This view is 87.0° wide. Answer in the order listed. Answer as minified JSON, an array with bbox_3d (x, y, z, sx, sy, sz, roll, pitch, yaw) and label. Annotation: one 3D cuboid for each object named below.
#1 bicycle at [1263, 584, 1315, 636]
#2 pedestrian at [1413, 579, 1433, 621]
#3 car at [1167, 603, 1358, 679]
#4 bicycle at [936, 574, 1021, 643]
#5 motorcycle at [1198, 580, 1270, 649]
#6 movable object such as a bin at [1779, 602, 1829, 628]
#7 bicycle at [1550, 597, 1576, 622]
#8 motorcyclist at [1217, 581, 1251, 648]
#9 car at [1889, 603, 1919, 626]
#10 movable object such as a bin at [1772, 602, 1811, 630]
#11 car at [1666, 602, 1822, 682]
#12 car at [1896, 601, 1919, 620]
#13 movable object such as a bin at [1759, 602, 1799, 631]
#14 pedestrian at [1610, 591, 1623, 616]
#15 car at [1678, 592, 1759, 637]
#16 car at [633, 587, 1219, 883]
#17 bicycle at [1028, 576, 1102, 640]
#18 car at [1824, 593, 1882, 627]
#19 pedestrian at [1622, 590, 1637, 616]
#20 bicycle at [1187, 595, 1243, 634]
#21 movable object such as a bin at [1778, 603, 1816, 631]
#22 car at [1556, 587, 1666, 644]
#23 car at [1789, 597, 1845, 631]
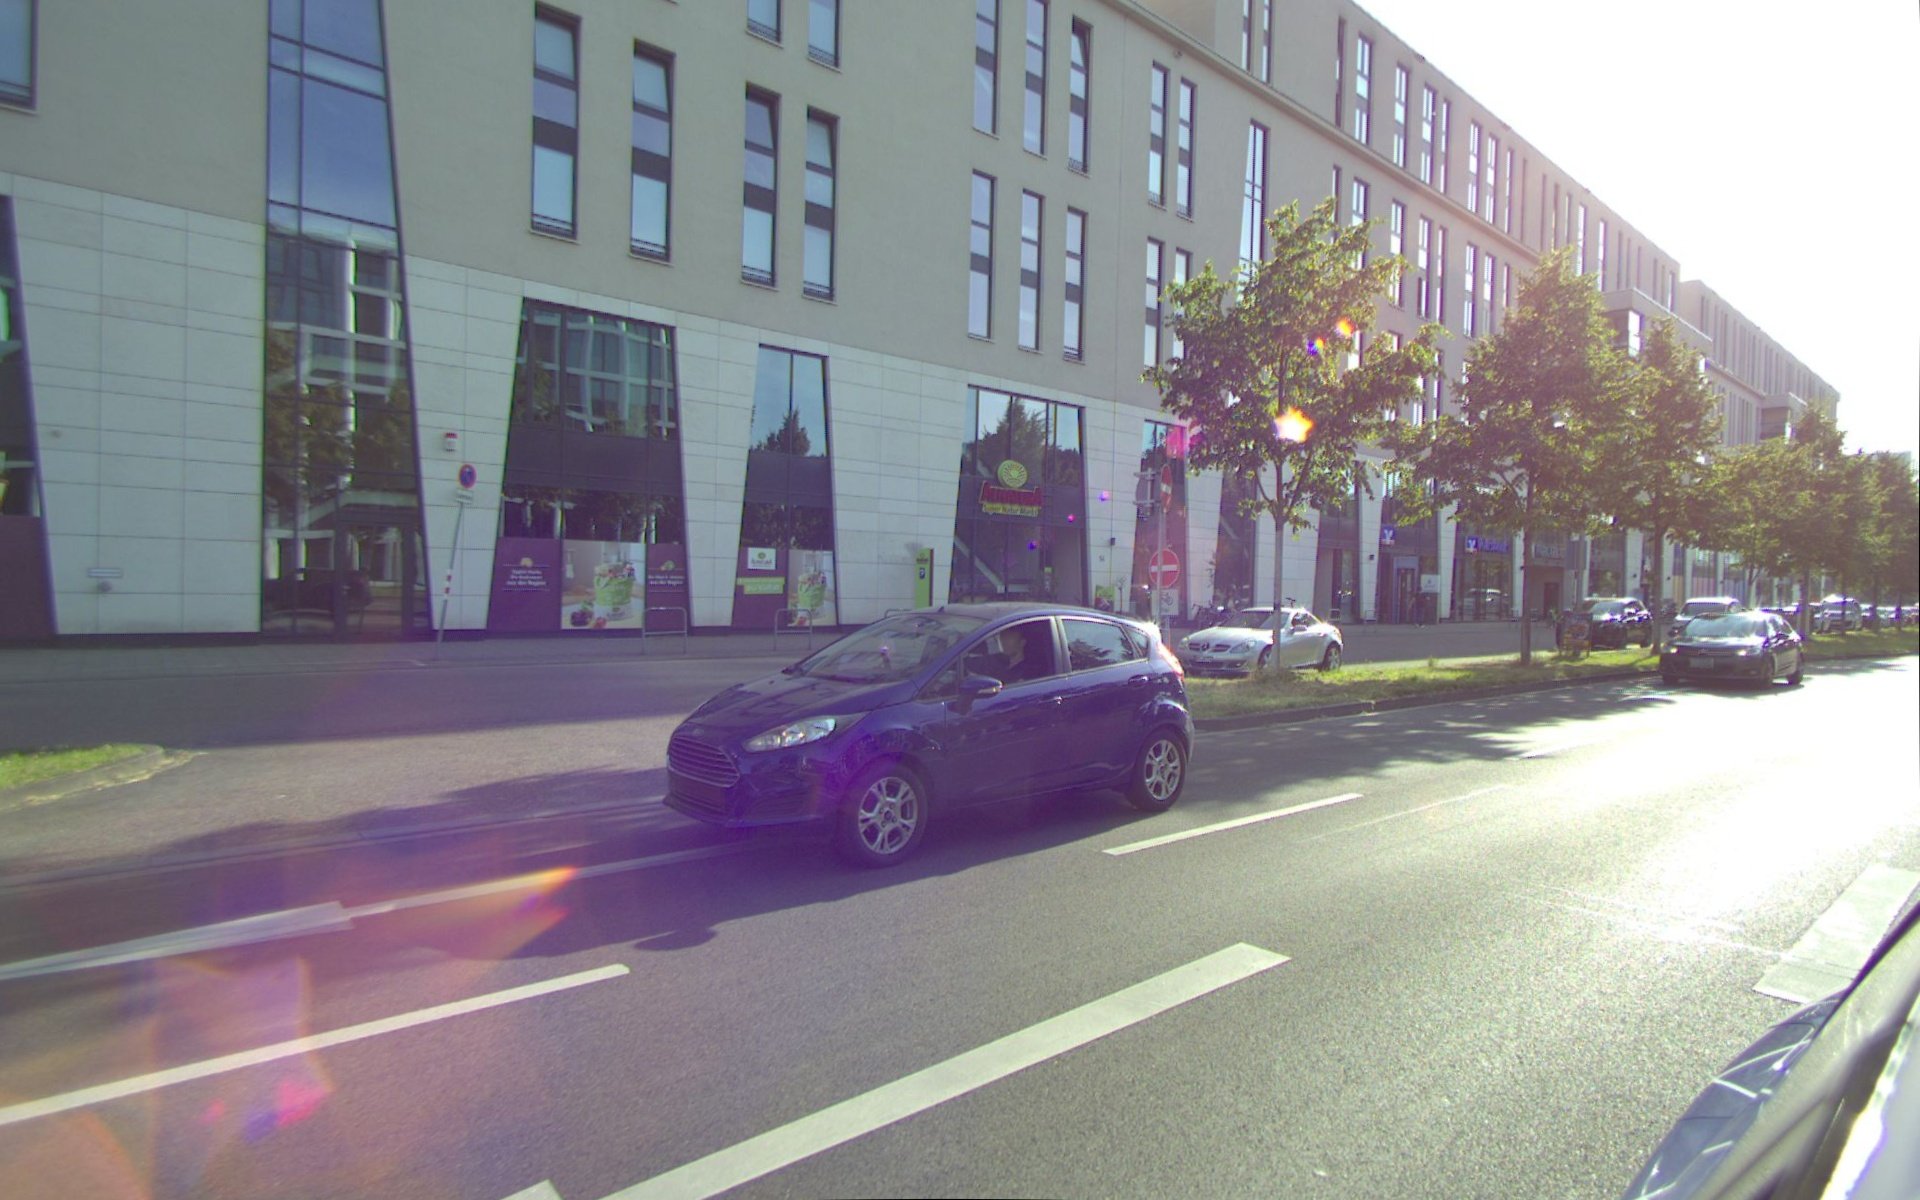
[{"bbox_3d":[10.820,0.302,33.229,2.173,1.639,0.556,-1,0,-40],"label":"bicycle"},{"bbox_3d":[19.506,0.001,42.639,0.635,1.785,0.538,0,0,-40],"label":"pedestrian"},{"bbox_3d":[5.774,0.698,19.130,3.838,1.258,1.710,0,0,-42],"label":"car"},{"bbox_3d":[0.477,0.179,24.428,2.236,1.590,0.556,-1,0,-40],"label":"bicycle"},{"bbox_3d":[7.021,0.348,25.879,1.976,1.636,0.703,0,5,-40],"label":"motorcycle"},{"bbox_3d":[42.085,0.735,50.498,1.307,1.252,1.405,0,0,-13],"label":"movable object such as a bin"},{"bbox_3d":[29.168,0.458,48.940,1.911,1.130,0.493,0,2,-41],"label":"bicycle"},{"bbox_3d":[6.992,0.352,25.844,0.410,1.660,0.625,1,3,-41],"label":"motorcyclist"},{"bbox_3d":[63.909,0.958,68.204,4.098,1.430,1.617,0,0,-43],"label":"car"},{"bbox_3d":[38.285,0.733,46.594,1.172,1.252,1.278,0,0,-44],"label":"movable object such as a bin"},{"bbox_3d":[16.048,0.788,20.650,3.967,1.442,1.698,0,0,-40],"label":"car"},{"bbox_3d":[75.110,0.786,79.670,4.043,1.450,1.731,0,0,-42],"label":"car"},{"bbox_3d":[37.196,0.729,45.953,1.159,1.308,1.278,0,0,-44],"label":"movable object such as a bin"},{"bbox_3d":[40.004,0.202,61.695,0.587,1.541,0.514,0,0,-41],"label":"pedestrian"},{"bbox_3d":[30.329,0.537,40.445,4.223,1.733,1.829,0,0,-42],"label":"car"},{"bbox_3d":[-0.027,0.670,6.812,3.839,1.442,1.562,1,-1,-42],"label":"car"},{"bbox_3d":[2.729,0.192,26.110,2.173,1.587,0.556,-1,0,-40],"label":"bicycle"},{"bbox_3d":[53.551,0.563,60.652,4.941,1.900,1.841,0,0,-39],"label":"car"},{"bbox_3d":[40.467,0.181,61.191,0.529,1.594,0.516,0,0,-7],"label":"pedestrian"},{"bbox_3d":[7.654,0.421,30.332,1.871,1.097,0.635,0,2,-40],"label":"bicycle"},{"bbox_3d":[39.278,0.788,47.489,1.172,1.252,1.278,0,0,-44],"label":"movable object such as a bin"},{"bbox_3d":[21.046,0.493,32.648,4.597,1.730,1.899,1,-1,-42],"label":"car"},{"bbox_3d":[45.975,0.720,54.243,4.769,1.650,1.732,0,2,-43],"label":"car"}]
